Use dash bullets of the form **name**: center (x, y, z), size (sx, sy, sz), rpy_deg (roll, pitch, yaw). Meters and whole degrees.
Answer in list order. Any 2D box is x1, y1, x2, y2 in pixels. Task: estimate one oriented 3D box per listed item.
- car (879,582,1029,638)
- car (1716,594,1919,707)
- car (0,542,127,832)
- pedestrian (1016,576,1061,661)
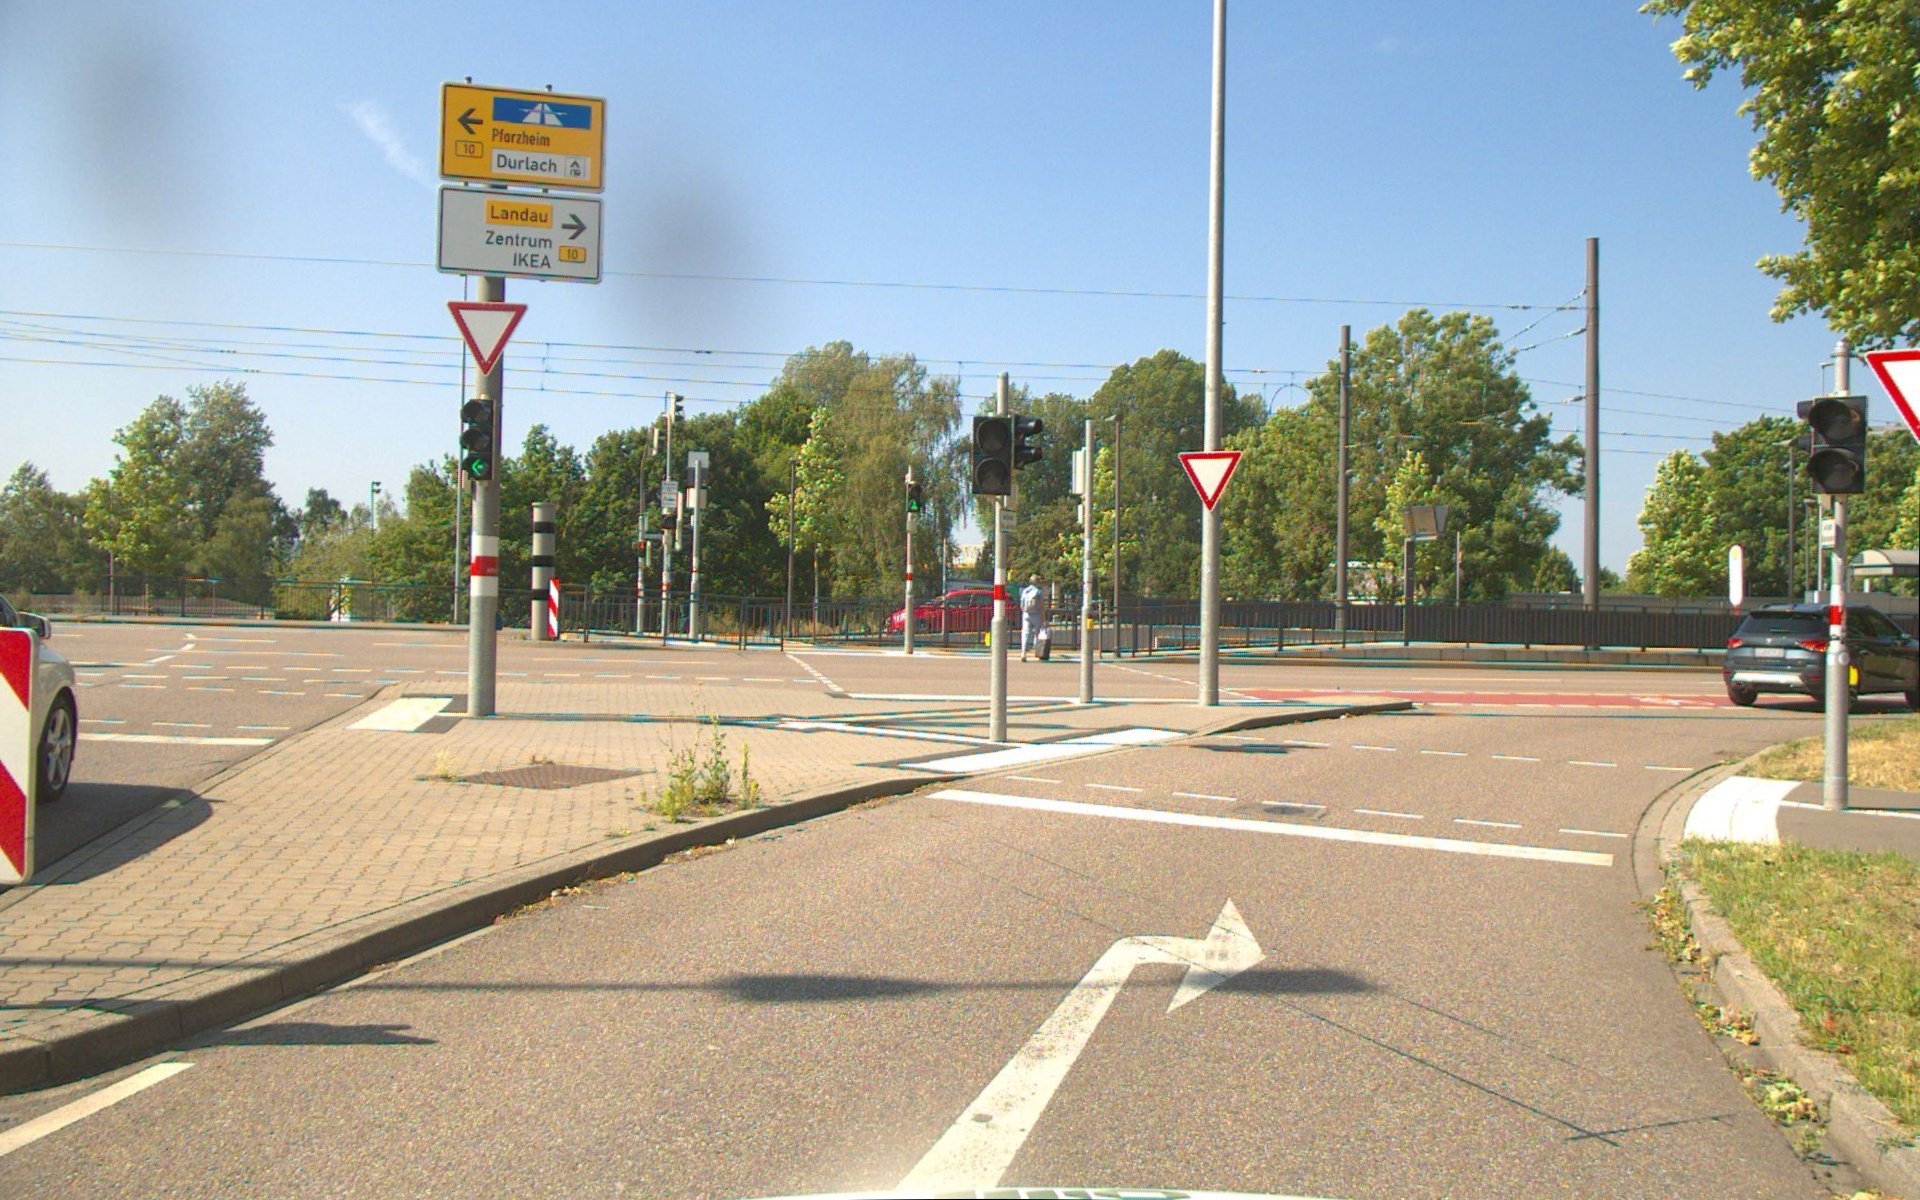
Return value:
- **car**: center (-0.181, 0.274, 46.833), size (3.920, 1.470, 1.740), rpy_deg (1, 1, -15)
- **car**: center (13.012, 0.750, 24.735), size (3.338, 1.550, 1.654), rpy_deg (2, 0, -36)
- **car**: center (-5.730, 0.413, 8.373), size (1.712, 1.473, 4.373), rpy_deg (2, 0, -14)
- **pedestrian**: center (1.457, 0.336, 30.981), size (0.757, 1.537, 1.007), rpy_deg (1, 1, -1)
